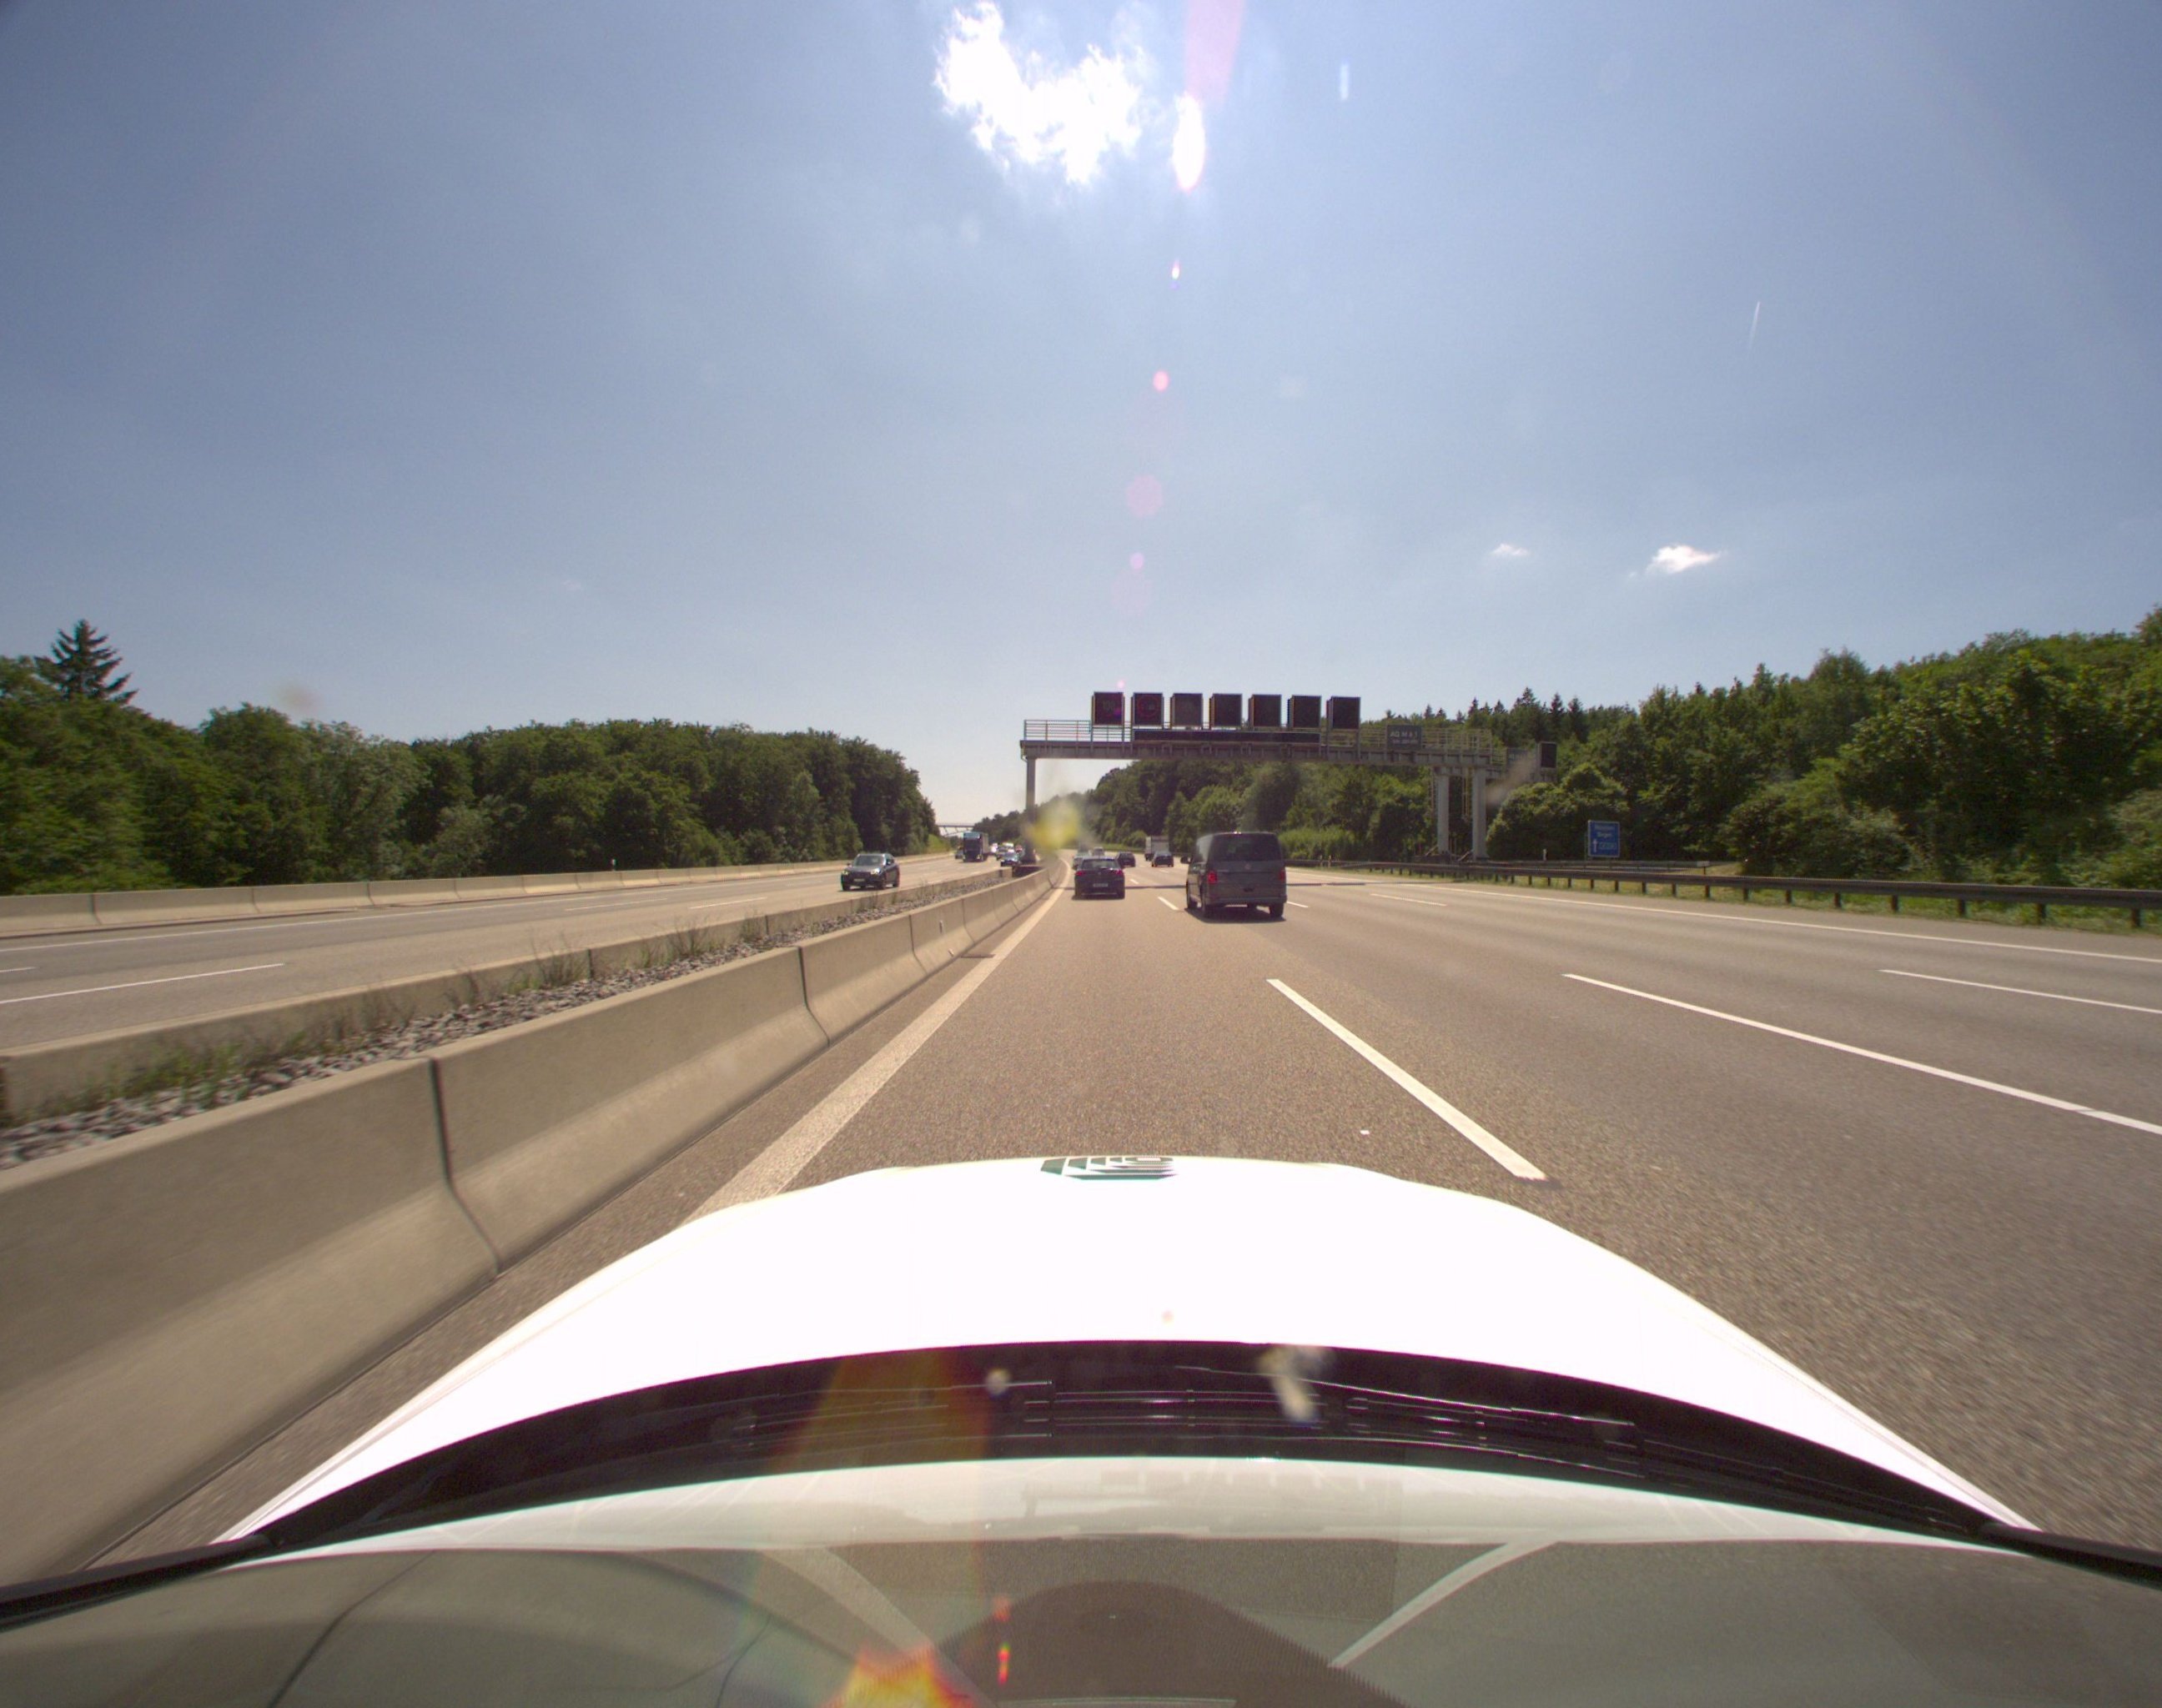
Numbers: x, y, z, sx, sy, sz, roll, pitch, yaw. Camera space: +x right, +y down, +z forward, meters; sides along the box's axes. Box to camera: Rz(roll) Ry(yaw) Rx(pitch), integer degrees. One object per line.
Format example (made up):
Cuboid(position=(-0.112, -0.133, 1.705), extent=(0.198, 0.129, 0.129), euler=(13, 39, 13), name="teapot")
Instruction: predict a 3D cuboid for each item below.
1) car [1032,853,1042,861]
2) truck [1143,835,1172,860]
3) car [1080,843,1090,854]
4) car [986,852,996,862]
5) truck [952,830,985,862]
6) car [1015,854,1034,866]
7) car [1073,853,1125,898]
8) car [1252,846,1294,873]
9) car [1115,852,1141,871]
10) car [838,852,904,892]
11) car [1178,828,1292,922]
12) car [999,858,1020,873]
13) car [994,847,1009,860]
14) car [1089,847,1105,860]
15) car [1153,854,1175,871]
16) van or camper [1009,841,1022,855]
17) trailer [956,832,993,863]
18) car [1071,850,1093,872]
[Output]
Cuboid(position=(-7.592, 0.551, 141.488), extent=(1.636, 1.350, 3.997), euler=(0, 0, -2), name="car")
Cuboid(position=(10.118, -0.838, 108.651), extent=(2.977, 3.166, 7.570), euler=(-1, 1, -2), name="truck")
Cuboid(position=(0.905, -1.324, 194.215), extent=(2.258, 2.371, 4.701), euler=(-1, 0, 0), name="car")
Cuboid(position=(-17.690, 0.589, 159.861), extent=(1.992, 1.762, 5.055), euler=(-1, -1, -8), name="car")
Cuboid(position=(-15.412, -1.042, 111.784), extent=(3.775, 4.177, 5.875), euler=(0, 0, -1), name="truck")
Cuboid(position=(-7.112, 0.742, 102.801), extent=(1.950, 1.518, 5.132), euler=(-1, 0, 0), name="car")
Cuboid(position=(0.643, 0.707, 28.642), extent=(1.702, 1.433, 4.001), euler=(0, 0, 1), name="car")
Cuboid(position=(13.025, 0.359, 55.396), extent=(1.986, 1.728, 4.001), euler=(-1, 0, 1), name="car")
Cuboid(position=(4.400, 0.725, 76.735), extent=(1.989, 1.728, 4.145), euler=(-1, -1, -3), name="car")
Cuboid(position=(-9.409, 0.757, 36.825), extent=(1.748, 1.635, 4.638), euler=(-1, 1, 0), name="car")
Cuboid(position=(3.684, 0.456, 20.398), extent=(1.956, 2.033, 5.084), euler=(-1, 0, 1), name="car")
Cuboid(position=(-7.470, 1.215, 85.502), extent=(1.848, 1.518, 4.519), euler=(-1, -2, -1), name="car")
Cuboid(position=(-11.913, -0.054, 122.685), extent=(1.988, 1.967, 4.779), euler=(-1, 0, -2), name="car")
Cuboid(position=(2.394, -0.099, 122.577), extent=(2.098, 1.744, 4.683), euler=(-1, 1, -2), name="car")
Cuboid(position=(7.643, 0.775, 74.974), extent=(1.659, 1.408, 4.905), euler=(0, 1, 1), name="car")
Cuboid(position=(-12.540, -1.087, 157.045), extent=(2.094, 2.566, 6.395), euler=(-1, 0, -2), name="van or camper")
Cuboid(position=(-15.611, -0.948, 120.581), extent=(3.825, 4.280, 14.468), euler=(0, 0, -1), name="trailer")
Cuboid(position=(0.092, 0.671, 76.846), extent=(2.006, 1.846, 3.998), euler=(0, -3, 0), name="car")
